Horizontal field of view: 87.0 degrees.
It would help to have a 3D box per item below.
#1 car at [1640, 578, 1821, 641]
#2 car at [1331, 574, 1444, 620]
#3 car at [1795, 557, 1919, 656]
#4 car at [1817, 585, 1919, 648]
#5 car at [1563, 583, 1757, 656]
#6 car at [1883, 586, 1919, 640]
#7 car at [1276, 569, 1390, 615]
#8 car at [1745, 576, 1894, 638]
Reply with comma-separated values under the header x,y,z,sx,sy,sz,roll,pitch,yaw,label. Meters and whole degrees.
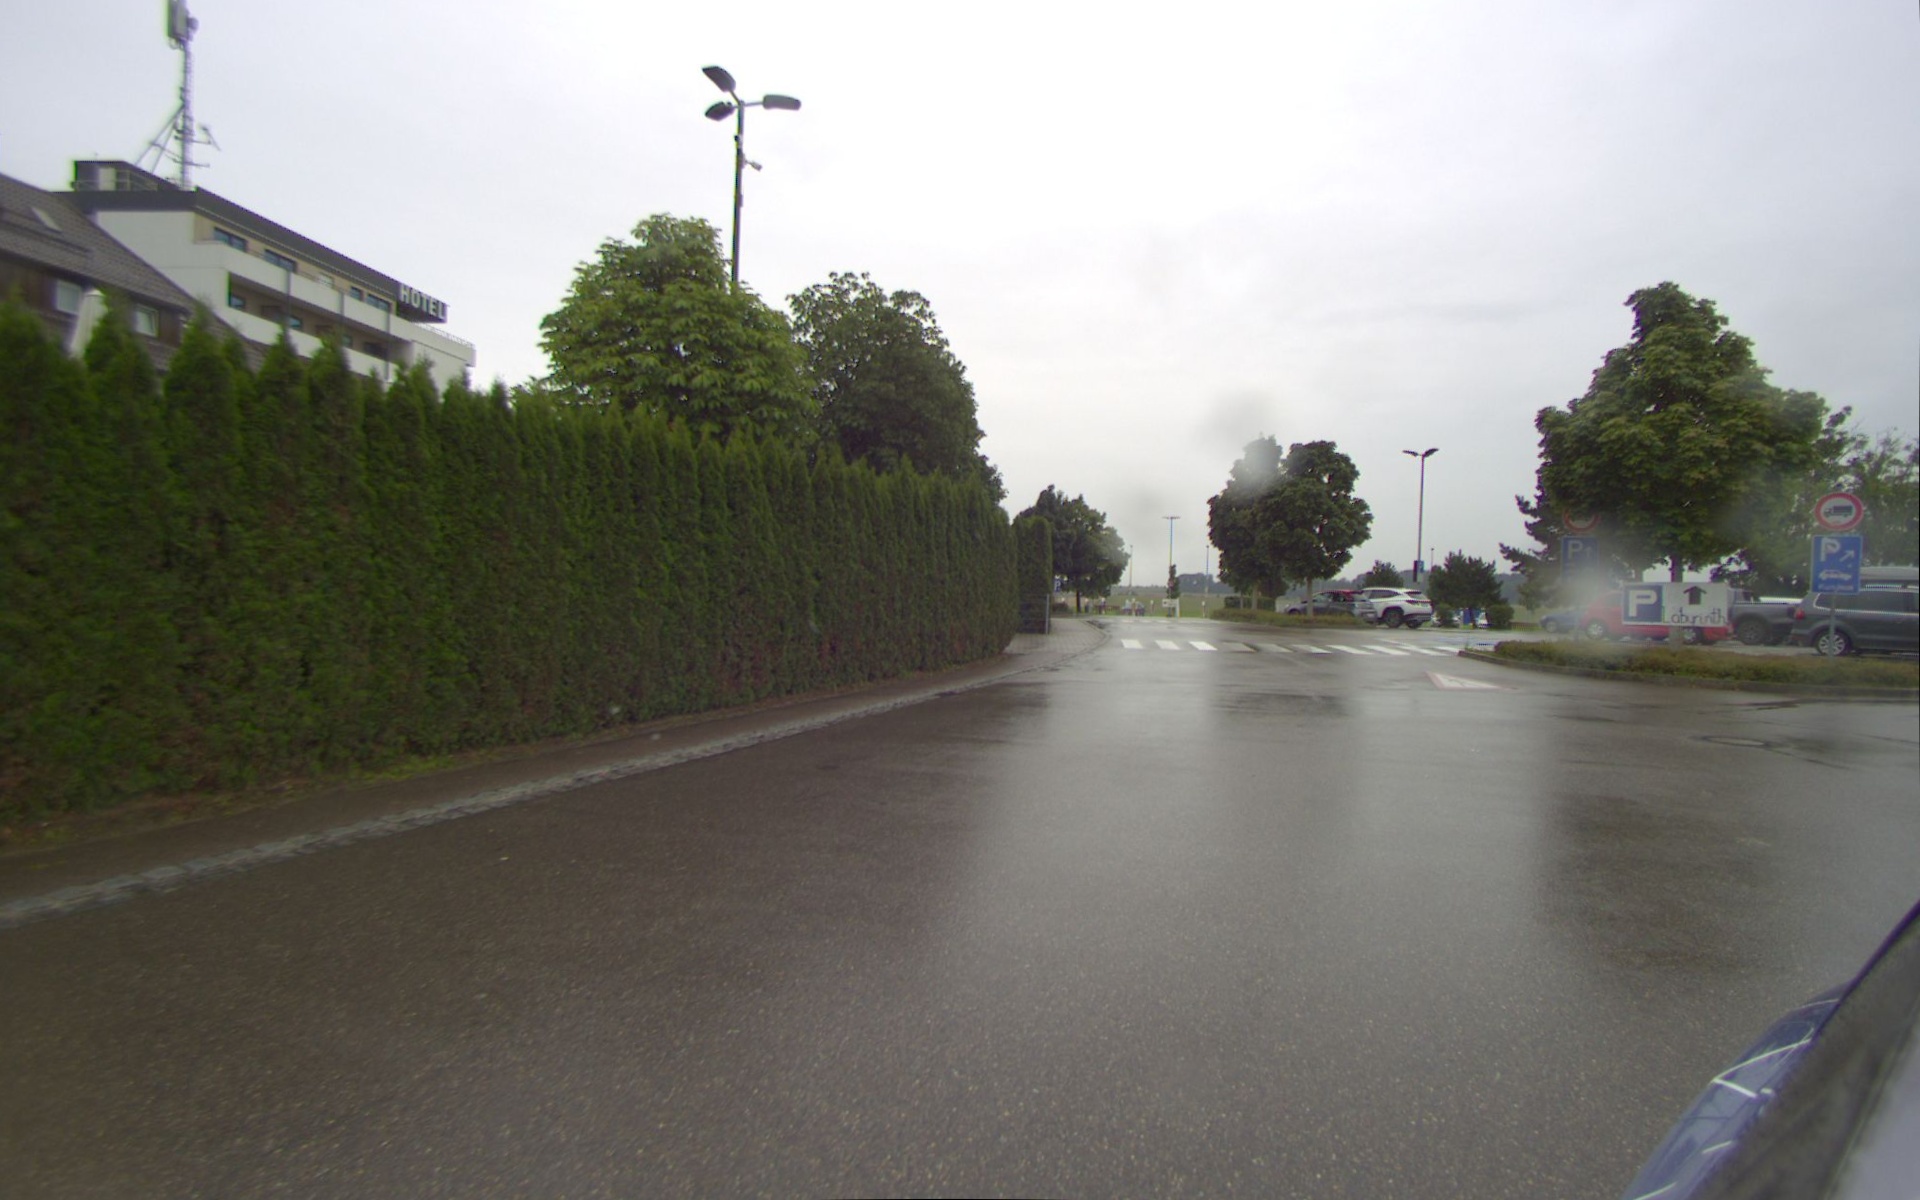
x,y,z,sx,sy,sz,roll,pitch,yaw,label
25.260,0.245,33.305,1.890,1.800,4.398,-1,2,-38,car
17.693,-0.164,42.029,1.681,1.713,4.049,0,2,-36,car
22.545,0.159,23.283,1.962,2.215,4.769,0,2,-35,car
24.486,0.439,24.964,1.850,1.490,4.769,0,2,-35,car
20.888,0.498,30.341,1.890,1.908,4.398,0,2,-38,car
30.866,0.463,30.056,1.962,1.606,4.769,0,2,-35,car
14.920,-0.357,40.684,1.765,1.713,4.051,0,2,-33,car
30.489,0.200,35.981,1.755,2.038,3.783,0,2,-39,car
